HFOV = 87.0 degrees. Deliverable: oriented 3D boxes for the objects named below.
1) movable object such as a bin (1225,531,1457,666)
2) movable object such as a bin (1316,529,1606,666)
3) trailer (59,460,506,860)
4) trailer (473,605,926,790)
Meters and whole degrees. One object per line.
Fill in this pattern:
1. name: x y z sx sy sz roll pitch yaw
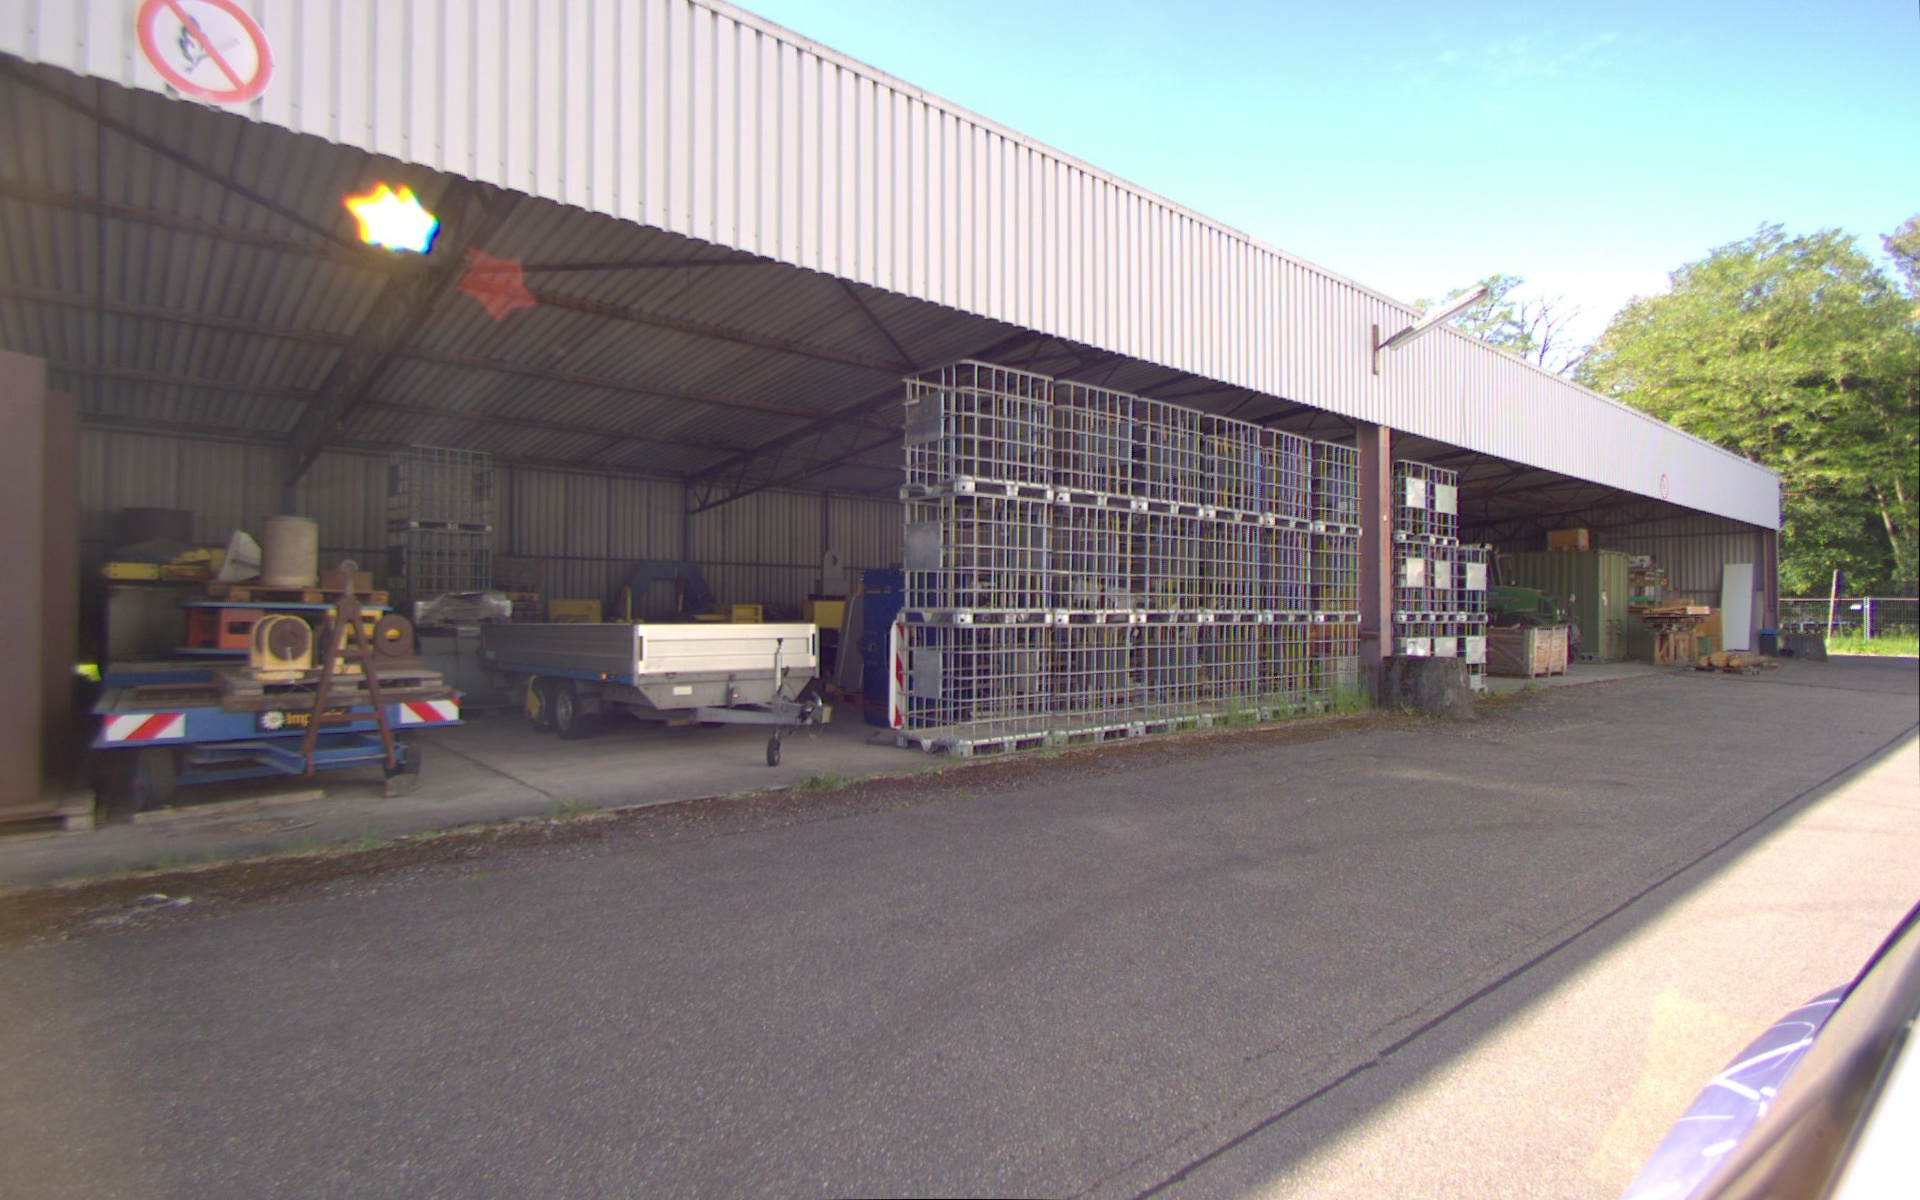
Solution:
1. movable object such as a bin: 8.908 -0.022 23.953 2.452 2.867 4.535 1 -1 -40
2. movable object such as a bin: 12.193 -0.049 25.049 2.770 2.962 5.845 1 -1 -40
3. trailer: -5.099 0.269 7.506 2.124 2.015 4.433 0 1 -39
4. trailer: -2.905 0.707 9.985 1.940 1.200 5.737 0 1 -41
